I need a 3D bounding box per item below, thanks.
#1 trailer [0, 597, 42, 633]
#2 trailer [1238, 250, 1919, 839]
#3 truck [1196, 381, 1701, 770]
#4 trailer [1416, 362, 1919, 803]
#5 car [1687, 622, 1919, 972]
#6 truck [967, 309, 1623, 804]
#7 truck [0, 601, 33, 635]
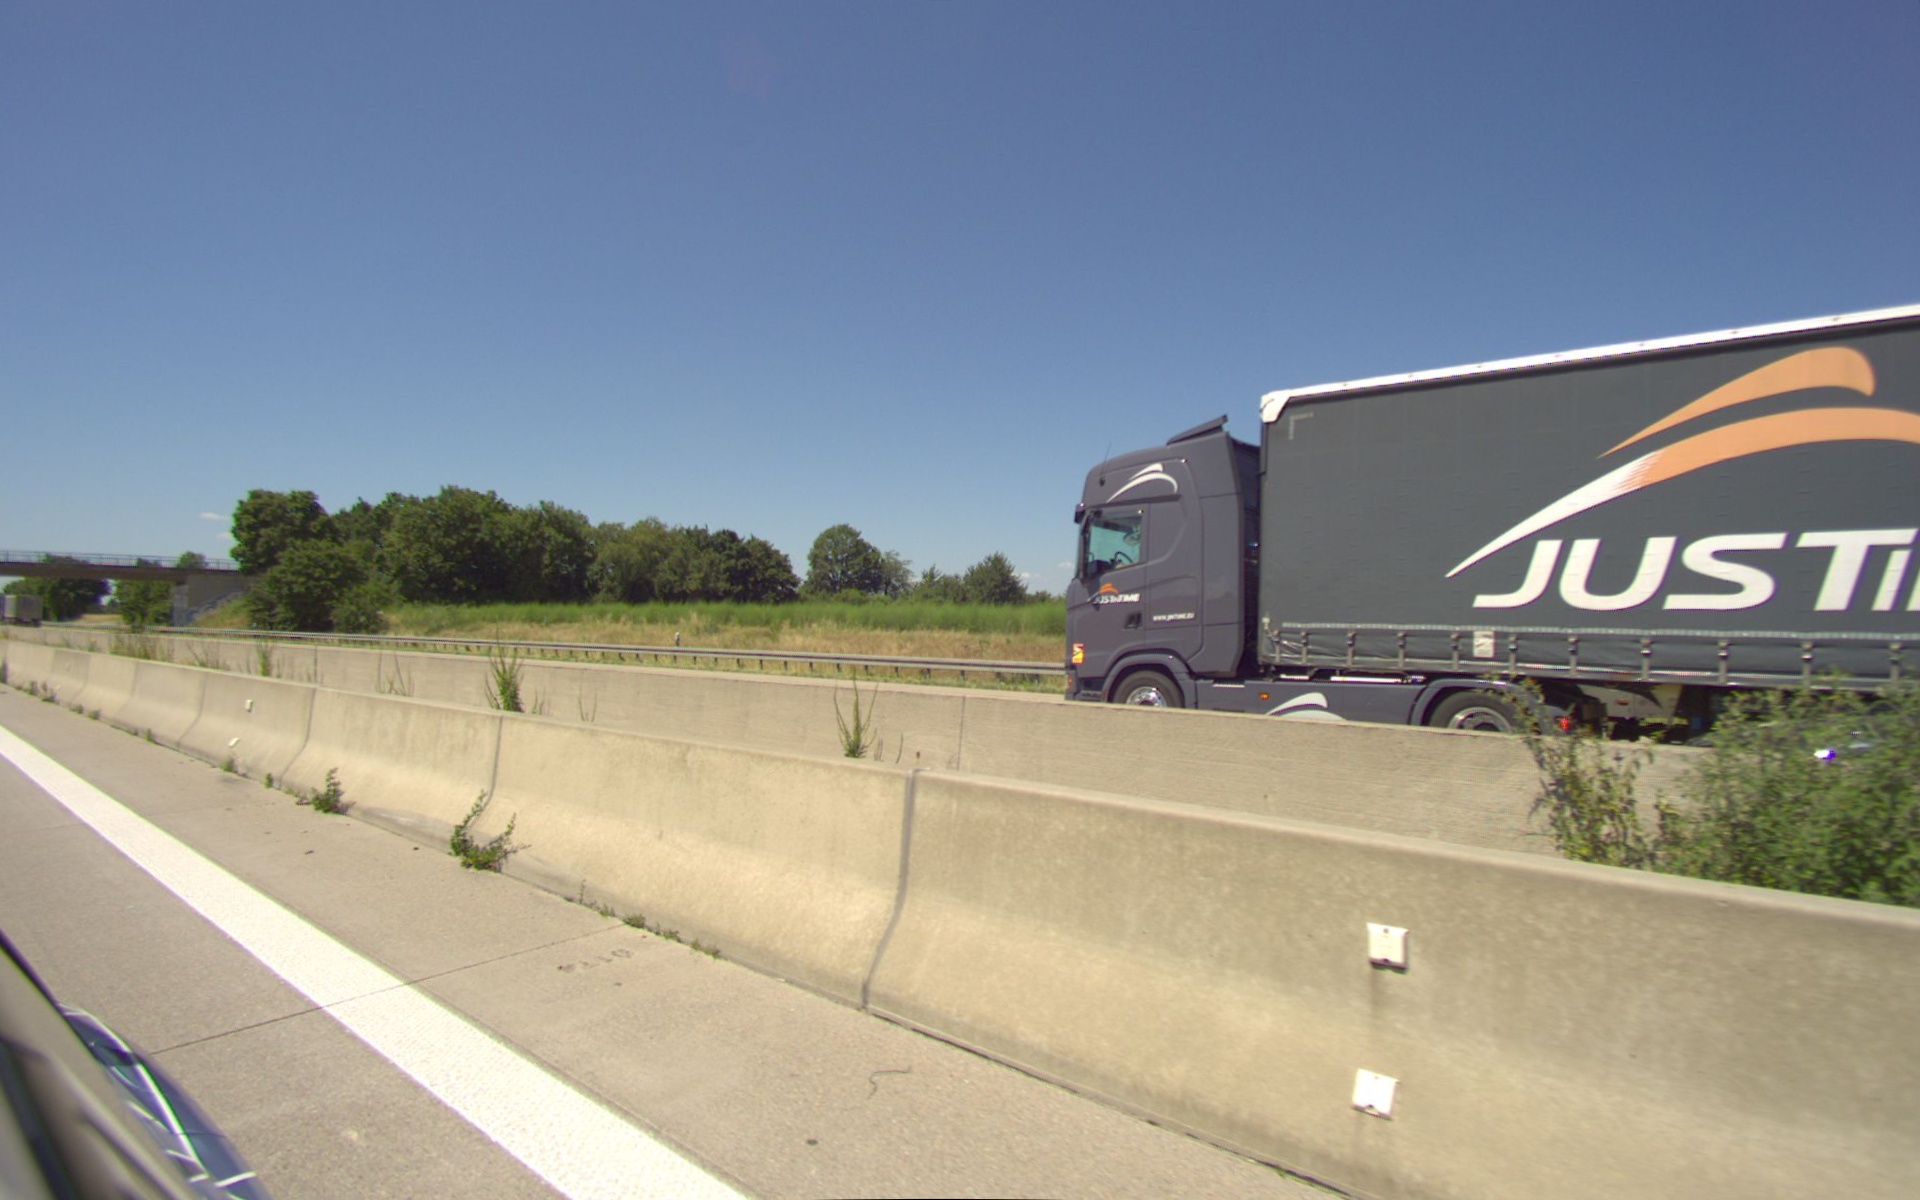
[{"bbox_3d":[-115.411,1.848,123.937,11.600,4.121,2.950,-1,-4,41],"label":"trailer"},{"bbox_3d":[9.621,-0.404,7.895,14.444,4.510,3.233,-1,-2,41],"label":"trailer"},{"bbox_3d":[7.195,-0.273,15.345,6.247,4.641,3.198,-1,0,41],"label":"truck"},{"bbox_3d":[11.975,-0.203,11.131,12.287,4.641,3.198,-1,0,41],"label":"trailer"},{"bbox_3d":[6.728,1.041,5.168,4.741,1.796,1.973,-1,0,41],"label":"car"},{"bbox_3d":[3.874,-0.326,12.805,7.186,4.510,3.233,-1,-2,41],"label":"truck"},{"bbox_3d":[-119.336,2.261,127.405,6.462,4.121,2.950,-1,-4,41],"label":"truck"}]
